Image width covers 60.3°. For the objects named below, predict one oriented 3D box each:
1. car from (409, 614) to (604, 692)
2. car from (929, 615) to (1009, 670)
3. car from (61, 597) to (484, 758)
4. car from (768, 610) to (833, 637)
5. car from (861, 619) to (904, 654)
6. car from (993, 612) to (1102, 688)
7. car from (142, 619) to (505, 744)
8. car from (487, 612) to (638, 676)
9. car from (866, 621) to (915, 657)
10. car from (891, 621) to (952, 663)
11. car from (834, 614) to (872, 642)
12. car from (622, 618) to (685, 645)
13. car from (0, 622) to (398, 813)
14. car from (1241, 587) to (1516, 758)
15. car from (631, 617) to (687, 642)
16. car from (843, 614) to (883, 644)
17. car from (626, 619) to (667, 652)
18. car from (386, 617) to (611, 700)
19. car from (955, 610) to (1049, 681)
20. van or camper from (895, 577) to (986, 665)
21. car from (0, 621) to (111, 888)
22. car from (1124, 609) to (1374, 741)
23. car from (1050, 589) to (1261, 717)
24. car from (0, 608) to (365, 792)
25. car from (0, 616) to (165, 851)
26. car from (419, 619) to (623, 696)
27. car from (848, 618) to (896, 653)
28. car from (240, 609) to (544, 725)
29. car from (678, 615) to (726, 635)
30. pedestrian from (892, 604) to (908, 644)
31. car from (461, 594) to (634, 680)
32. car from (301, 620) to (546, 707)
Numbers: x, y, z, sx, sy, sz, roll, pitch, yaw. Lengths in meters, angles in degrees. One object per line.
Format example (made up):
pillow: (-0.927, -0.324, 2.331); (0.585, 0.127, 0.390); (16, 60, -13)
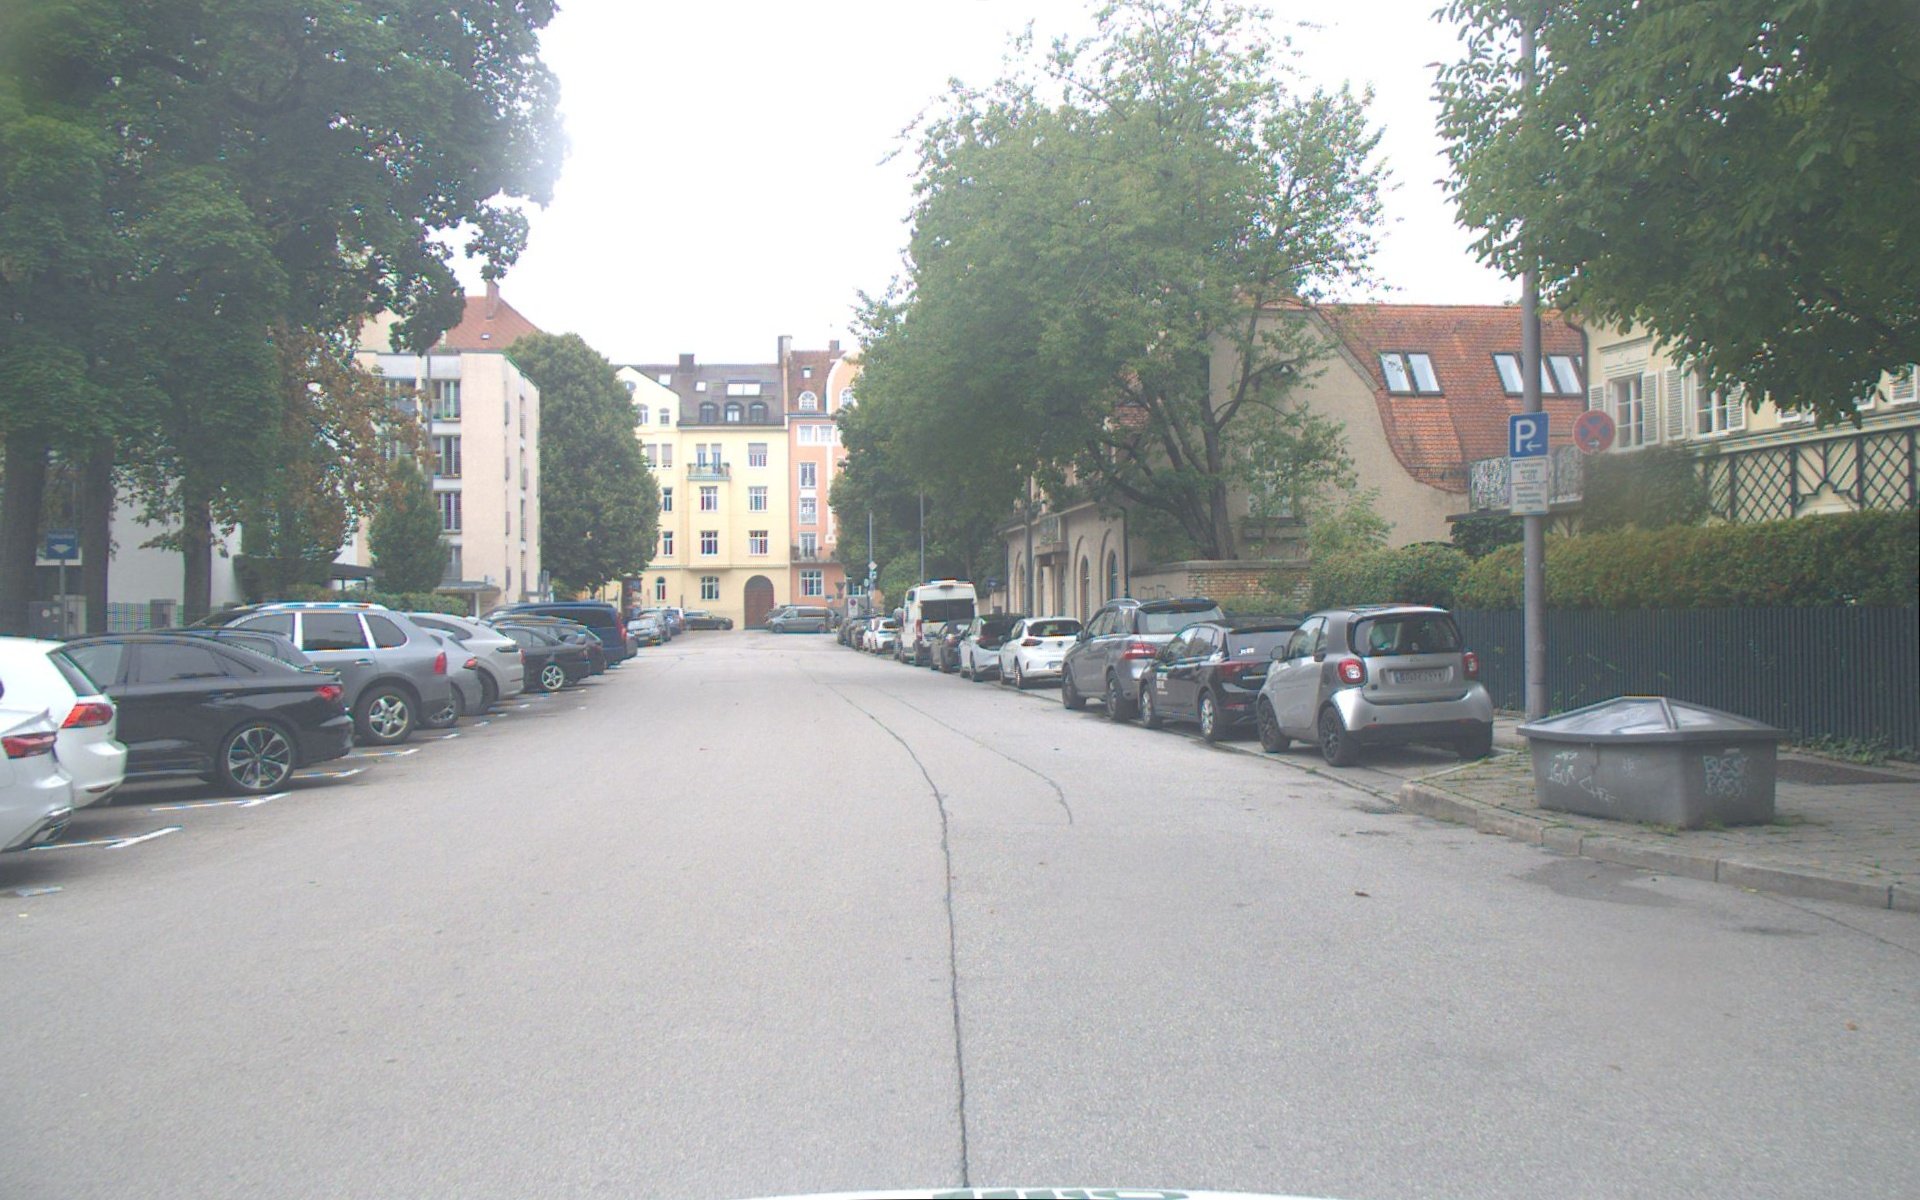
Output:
car: (-10.862, 1.247, 39.711); (4.165, 1.637, 1.717); (-2, 0, -33)
car: (0.202, 1.155, 46.345); (1.675, 1.393, 4.433); (-2, 0, -7)
car: (-8.338, 0.870, 20.242); (4.371, 1.729, 2.106); (-1, -1, -40)
car: (-11.597, 1.682, 120.306); (4.617, 1.914, 1.836); (0, -1, -9)
car: (-3.585, 1.659, 76.218); (1.674, 1.491, 3.832); (-2, 0, -6)
car: (1.817, 1.053, 35.549); (1.653, 1.466, 3.994); (-2, -1, -7)
car: (-8.852, 1.077, 23.179); (4.370, 1.517, 1.989); (-1, -1, -39)
car: (-11.945, 1.306, 49.813); (4.077, 1.738, 1.714); (-2, 0, -38)
car: (-3.011, 1.646, 71.317); (1.675, 1.432, 4.122); (-2, 0, -8)
car: (-1.432, 1.479, 59.490); (1.675, 1.393, 4.122); (-2, 0, -8)
car: (-5.900, 1.514, 90.666); (1.640, 1.367, 3.828); (-2, 1, -10)
car: (-20.175, 2.056, 109.073); (3.913, 1.534, 1.837); (-4, 0, -8)
car: (-7.472, 0.985, 14.634); (4.368, 1.464, 1.939); (-1, -1, -38)
car: (4.290, 0.727, 17.375); (1.707, 1.563, 2.939); (-2, -1, -10)
car: (-21.979, 2.156, 120.880); (3.913, 1.534, 1.837); (-4, 0, -8)
car: (-5.050, 1.492, 85.822); (1.640, 1.367, 3.828); (-2, 1, -10)
car: (-16.514, 1.850, 87.258); (1.800, 1.534, 3.994); (-4, 0, -7)
car: (-9.579, 1.189, 34.486); (4.175, 1.487, 1.713); (-2, 0, -38)
car: (0.971, 1.075, 40.613); (1.675, 1.564, 4.233); (-3, 0, -7)
van or camper: (-0.700, 0.658, 53.148); (2.151, 2.595, 5.717); (-2, 0, -8)
car: (-7.260, 0.920, 9.128); (4.458, 1.476, 1.876); (-1, -1, -32)
car: (3.600, 0.892, 21.450); (1.843, 1.452, 4.212); (-2, 0, -10)
car: (2.936, 0.783, 26.040); (1.957, 1.741, 4.873); (-2, 0, -10)
car: (-8.541, 0.954, 16.732); (4.371, 1.658, 1.937); (-1, -1, -40)
car: (-8.061, 1.017, 11.390); (4.459, 1.536, 1.911); (-3, 0, -32)
car: (-9.872, 1.260, 37.246); (4.158, 1.487, 1.721); (-2, 0, -29)
car: (-4.303, 1.698, 80.446); (1.771, 1.491, 3.827); (-2, 1, -11)
car: (-9.101, 1.031, 26.553); (4.349, 1.649, 2.066); (-1, -1, -29)
car: (-22.091, 2.142, 141.573); (3.910, 1.614, 1.701); (-1, -1, -6)
pedestrian: (-3.117, 1.236, 85.824); (0.758, 2.049, 0.561); (0, -1, -8)
car: (-11.128, 0.977, 44.744); (4.172, 2.102, 1.714); (-2, 0, -37)
car: (-10.200, 1.171, 31.537); (4.162, 1.487, 1.774); (-1, -1, -32)
